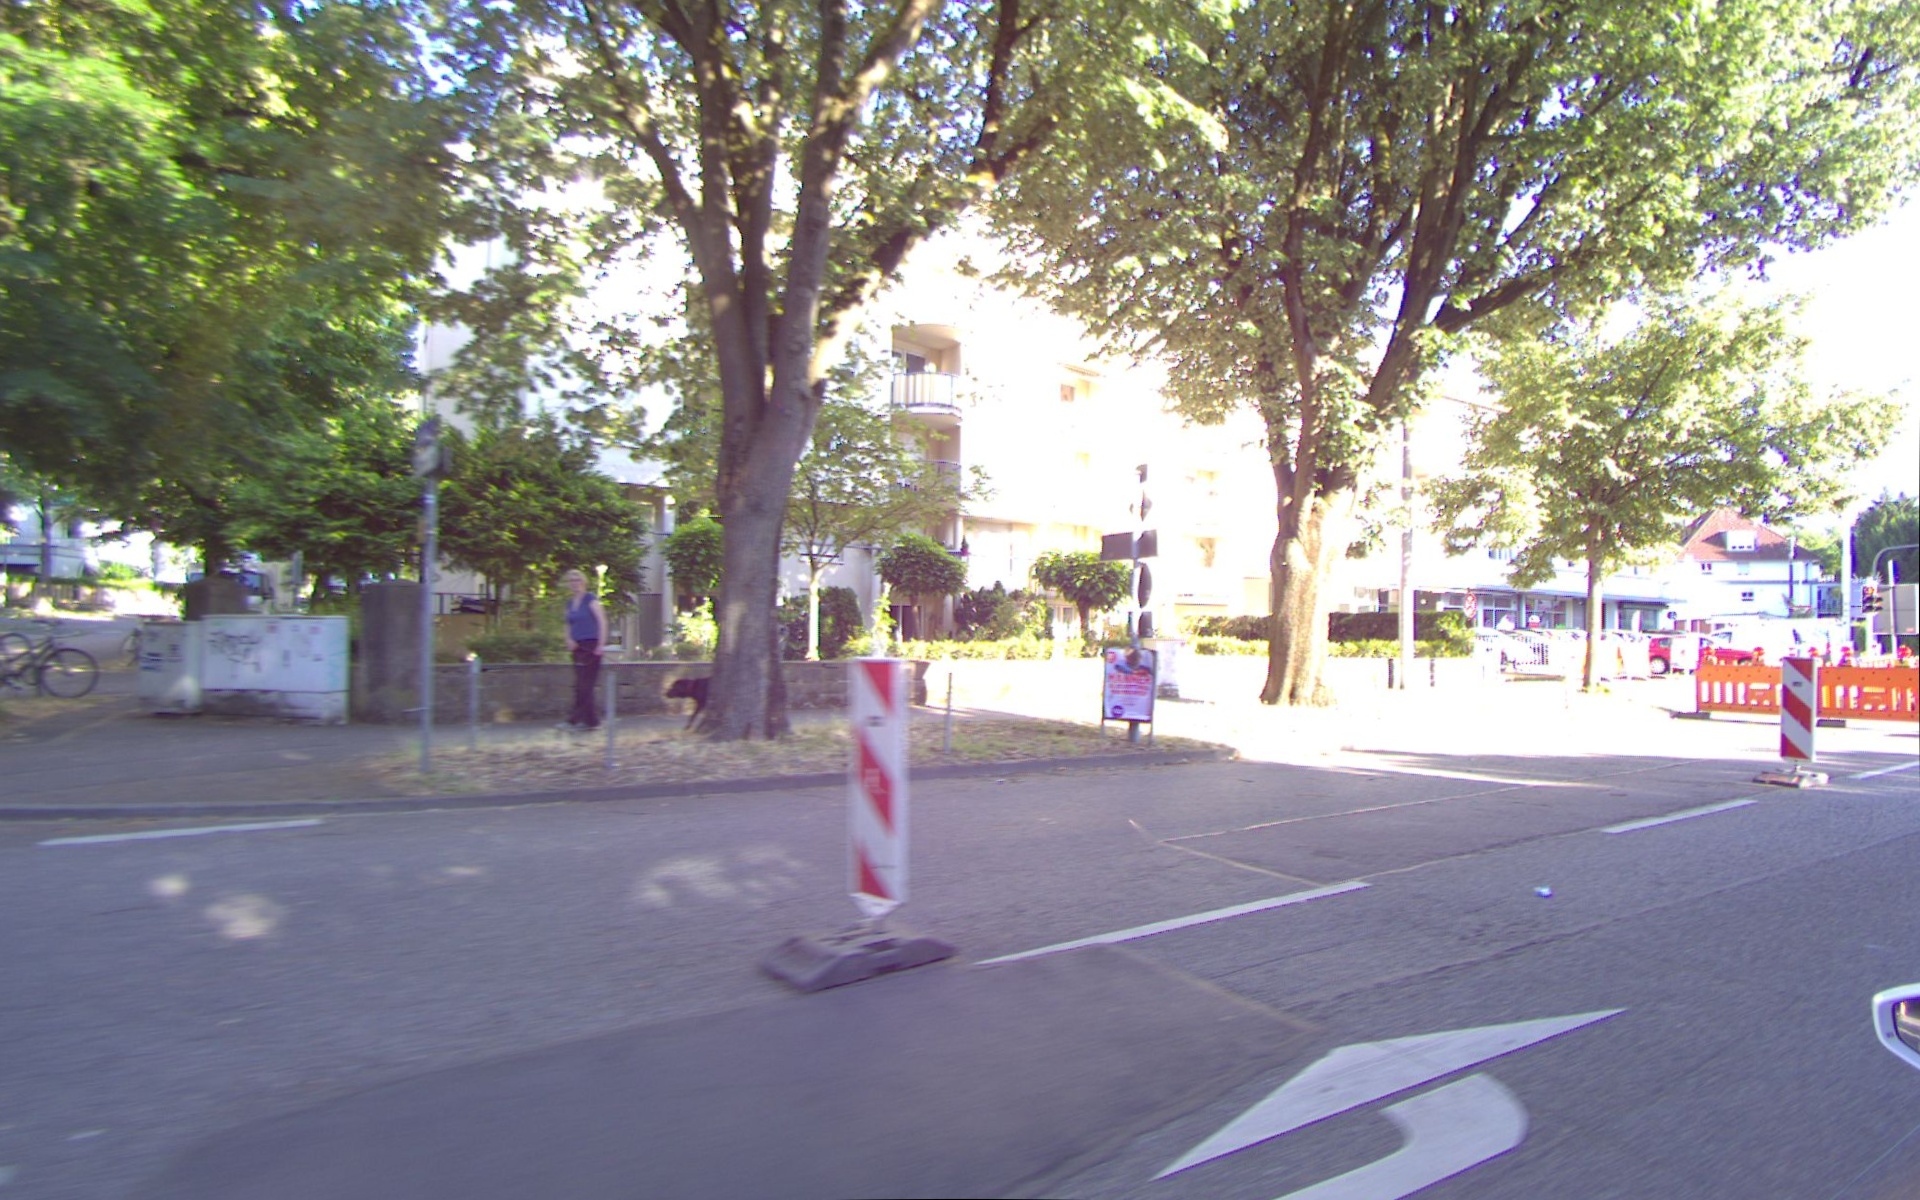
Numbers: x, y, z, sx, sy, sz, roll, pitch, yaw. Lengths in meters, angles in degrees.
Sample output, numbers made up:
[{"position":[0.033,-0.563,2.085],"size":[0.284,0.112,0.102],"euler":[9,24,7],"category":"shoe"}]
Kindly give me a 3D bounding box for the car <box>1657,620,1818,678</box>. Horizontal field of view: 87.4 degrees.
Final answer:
[{"position":[28.940,1.788,37.532],"size":[1.976,1.876,4.294],"euler":[2,0,-29],"category":"car"}]

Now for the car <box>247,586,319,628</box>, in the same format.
[{"position":[-26.307,0.286,39.144],"size":[1.977,1.505,3.968],"euler":[2,-1,-30],"category":"car"}]

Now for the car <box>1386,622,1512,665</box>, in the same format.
[{"position":[19.970,1.752,41.197],"size":[1.976,1.530,4.293],"euler":[2,0,-30],"category":"car"}]

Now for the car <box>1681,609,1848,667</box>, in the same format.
[{"position":[31.290,1.429,39.206],"size":[2.095,1.991,4.638],"euler":[2,0,-34],"category":"car"}]

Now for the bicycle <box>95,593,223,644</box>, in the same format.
[{"position":[-17.156,0.400,21.572],"size":[1.900,1.023,0.926],"euler":[2,0,-12],"category":"bicycle"}]

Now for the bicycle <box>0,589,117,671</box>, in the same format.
[{"position":[-12.978,0.407,13.856],"size":[1.905,1.091,0.745],"euler":[2,0,-21],"category":"bicycle"}]

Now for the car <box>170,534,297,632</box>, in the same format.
[{"position":[-21.323,-0.416,29.720],"size":[2.429,2.599,5.211],"euler":[2,-1,-30],"category":"car"}]

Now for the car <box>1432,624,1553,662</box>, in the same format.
[{"position":[23.135,1.851,43.799],"size":[1.976,1.417,4.293],"euler":[2,0,-30],"category":"car"}]

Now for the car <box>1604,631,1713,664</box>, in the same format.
[{"position":[36.120,2.448,52.057],"size":[1.969,1.417,4.309],"euler":[2,0,-18],"category":"car"}]

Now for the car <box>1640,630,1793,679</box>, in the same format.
[{"position":[26.955,1.898,35.910],"size":[1.981,1.498,3.963],"euler":[2,0,-36],"category":"car"}]
